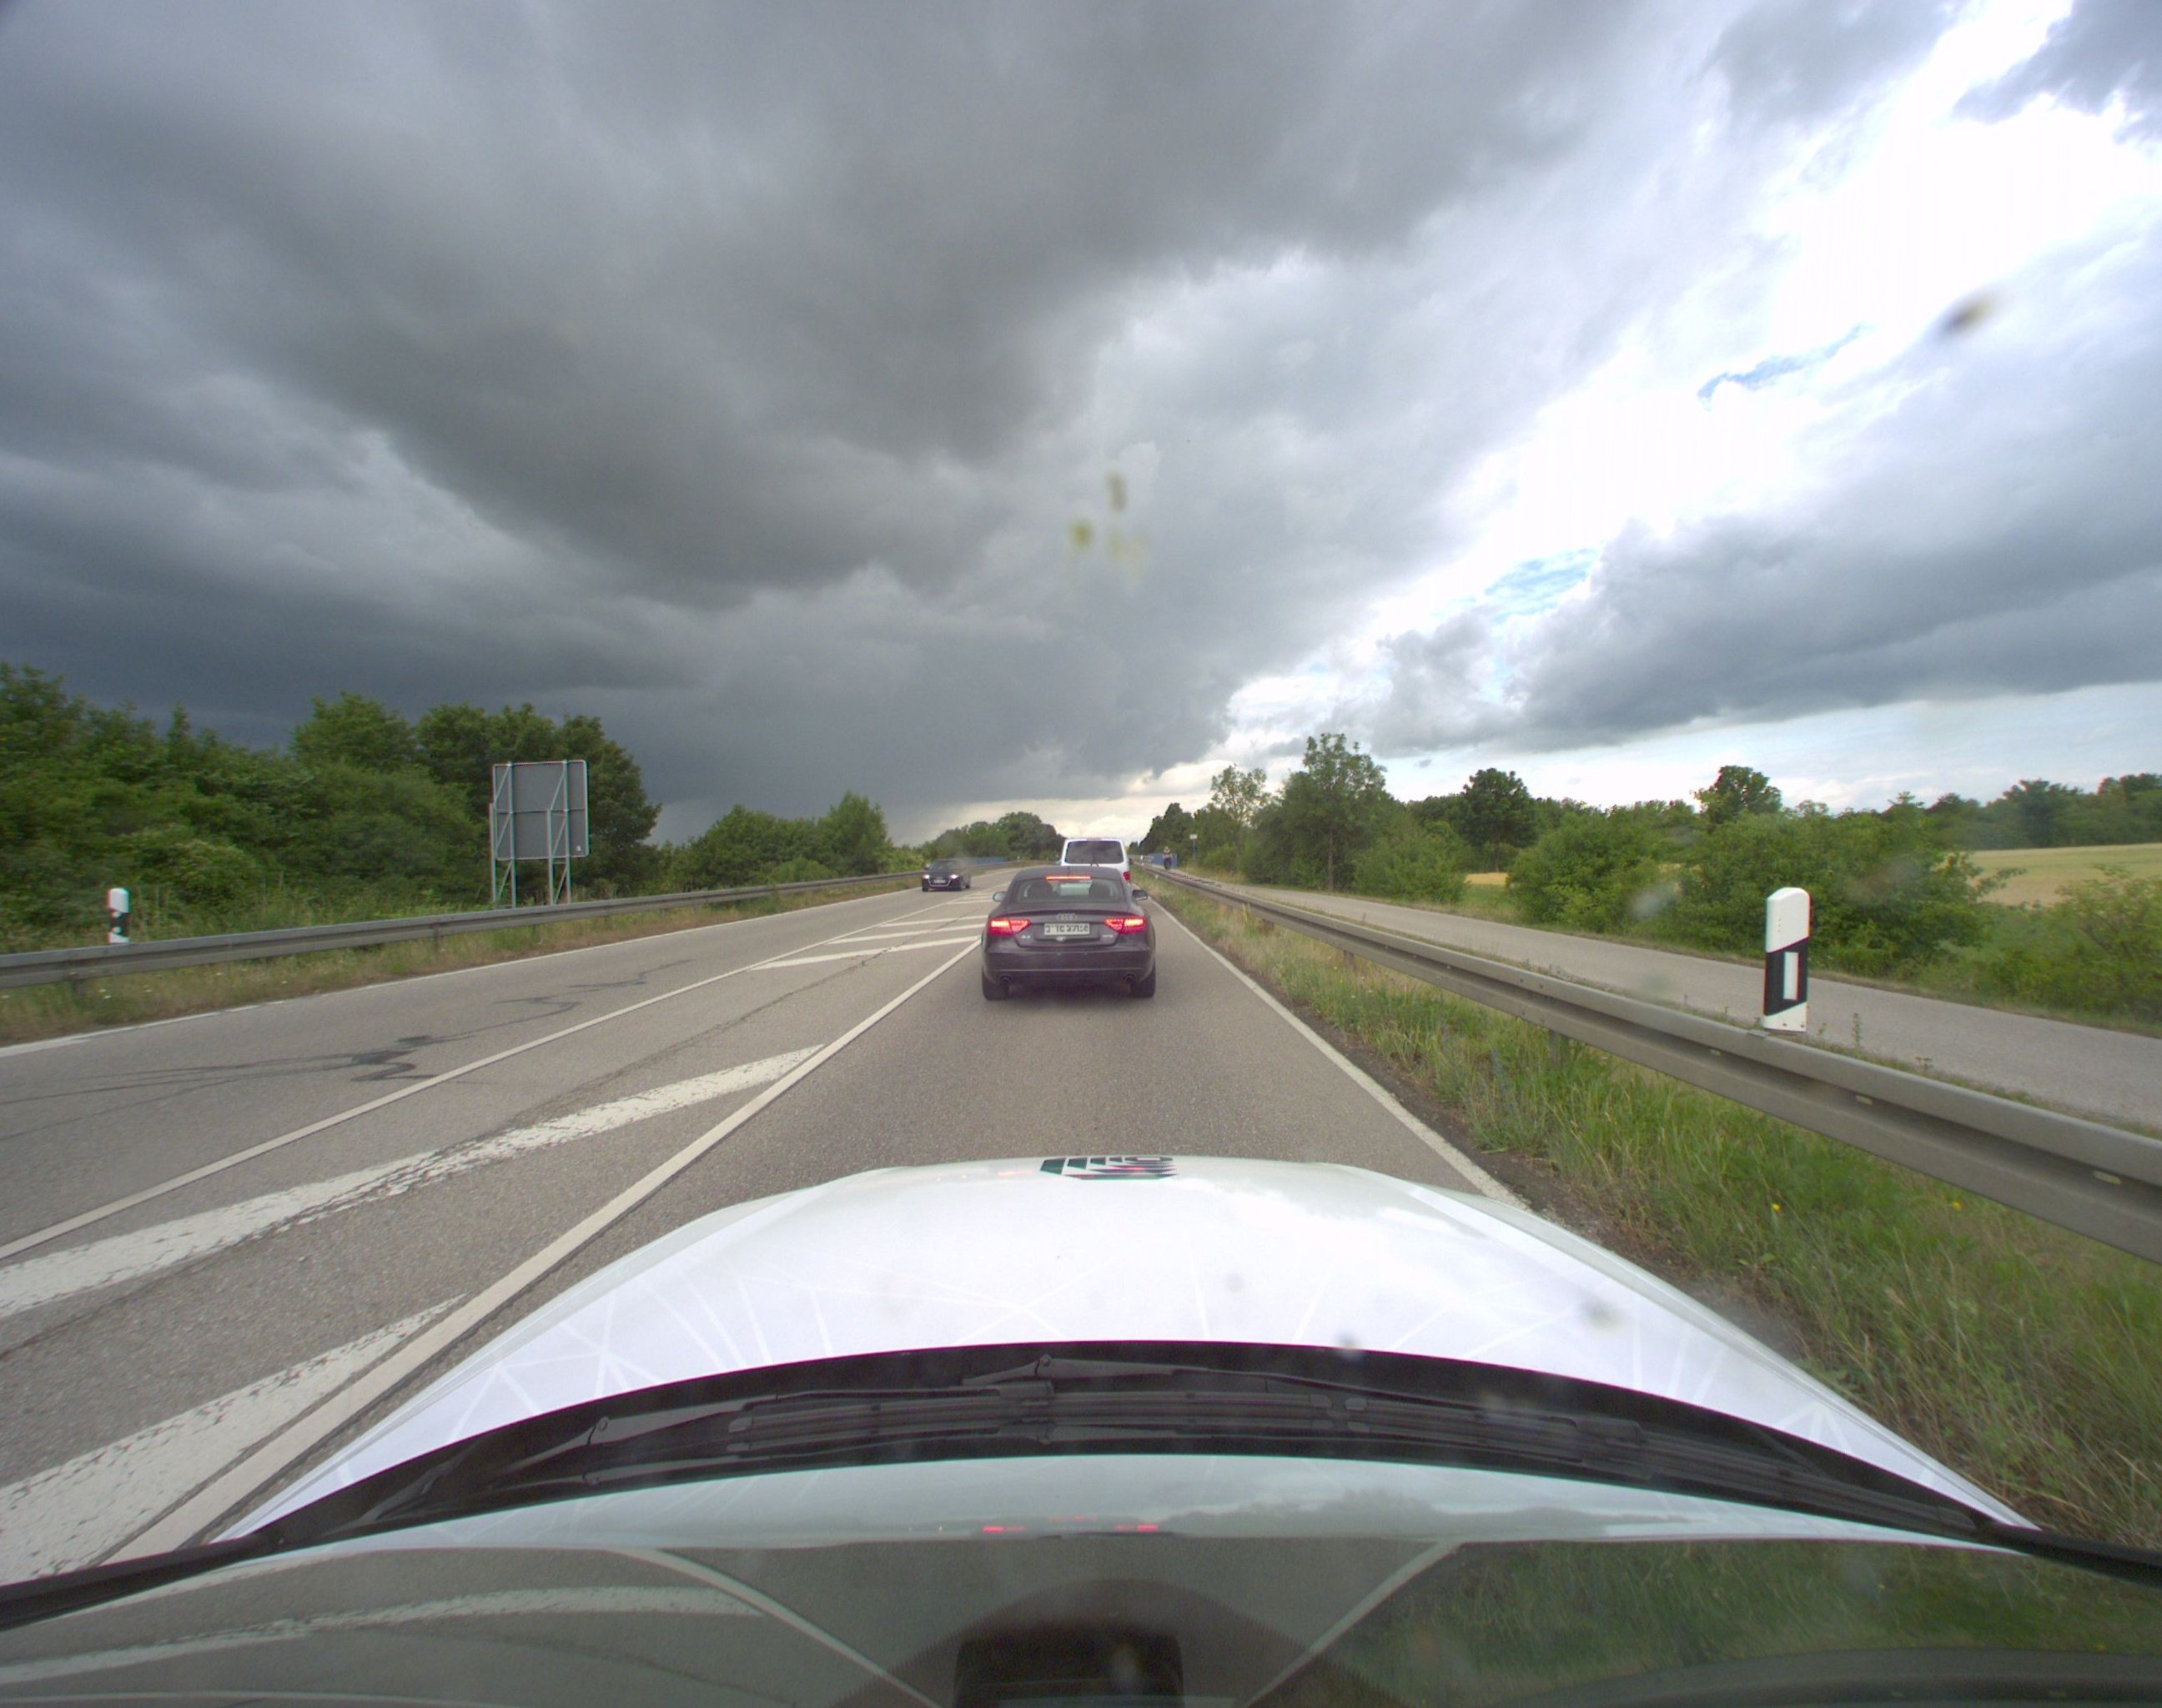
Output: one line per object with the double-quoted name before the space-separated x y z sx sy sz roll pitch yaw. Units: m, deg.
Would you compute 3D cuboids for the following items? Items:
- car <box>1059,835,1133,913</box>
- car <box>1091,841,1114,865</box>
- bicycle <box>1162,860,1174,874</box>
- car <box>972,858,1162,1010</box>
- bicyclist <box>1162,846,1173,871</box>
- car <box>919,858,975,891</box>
"car" 0.413 0.504 21.787 1.779 1.890 4.001 0 -1 1
"car" 2.357 -0.150 88.302 2.438 2.504 5.043 0 0 2
"bicycle" 5.953 0.886 55.804 0.663 0.920 1.830 -2 0 1
"car" -0.090 0.774 9.700 1.779 1.424 4.001 0 -1 1
"bicyclist" 5.940 0.315 55.715 0.644 1.645 0.866 -2 -1 1
"car" -6.015 0.890 36.982 1.857 1.376 3.999 -1 0 0
